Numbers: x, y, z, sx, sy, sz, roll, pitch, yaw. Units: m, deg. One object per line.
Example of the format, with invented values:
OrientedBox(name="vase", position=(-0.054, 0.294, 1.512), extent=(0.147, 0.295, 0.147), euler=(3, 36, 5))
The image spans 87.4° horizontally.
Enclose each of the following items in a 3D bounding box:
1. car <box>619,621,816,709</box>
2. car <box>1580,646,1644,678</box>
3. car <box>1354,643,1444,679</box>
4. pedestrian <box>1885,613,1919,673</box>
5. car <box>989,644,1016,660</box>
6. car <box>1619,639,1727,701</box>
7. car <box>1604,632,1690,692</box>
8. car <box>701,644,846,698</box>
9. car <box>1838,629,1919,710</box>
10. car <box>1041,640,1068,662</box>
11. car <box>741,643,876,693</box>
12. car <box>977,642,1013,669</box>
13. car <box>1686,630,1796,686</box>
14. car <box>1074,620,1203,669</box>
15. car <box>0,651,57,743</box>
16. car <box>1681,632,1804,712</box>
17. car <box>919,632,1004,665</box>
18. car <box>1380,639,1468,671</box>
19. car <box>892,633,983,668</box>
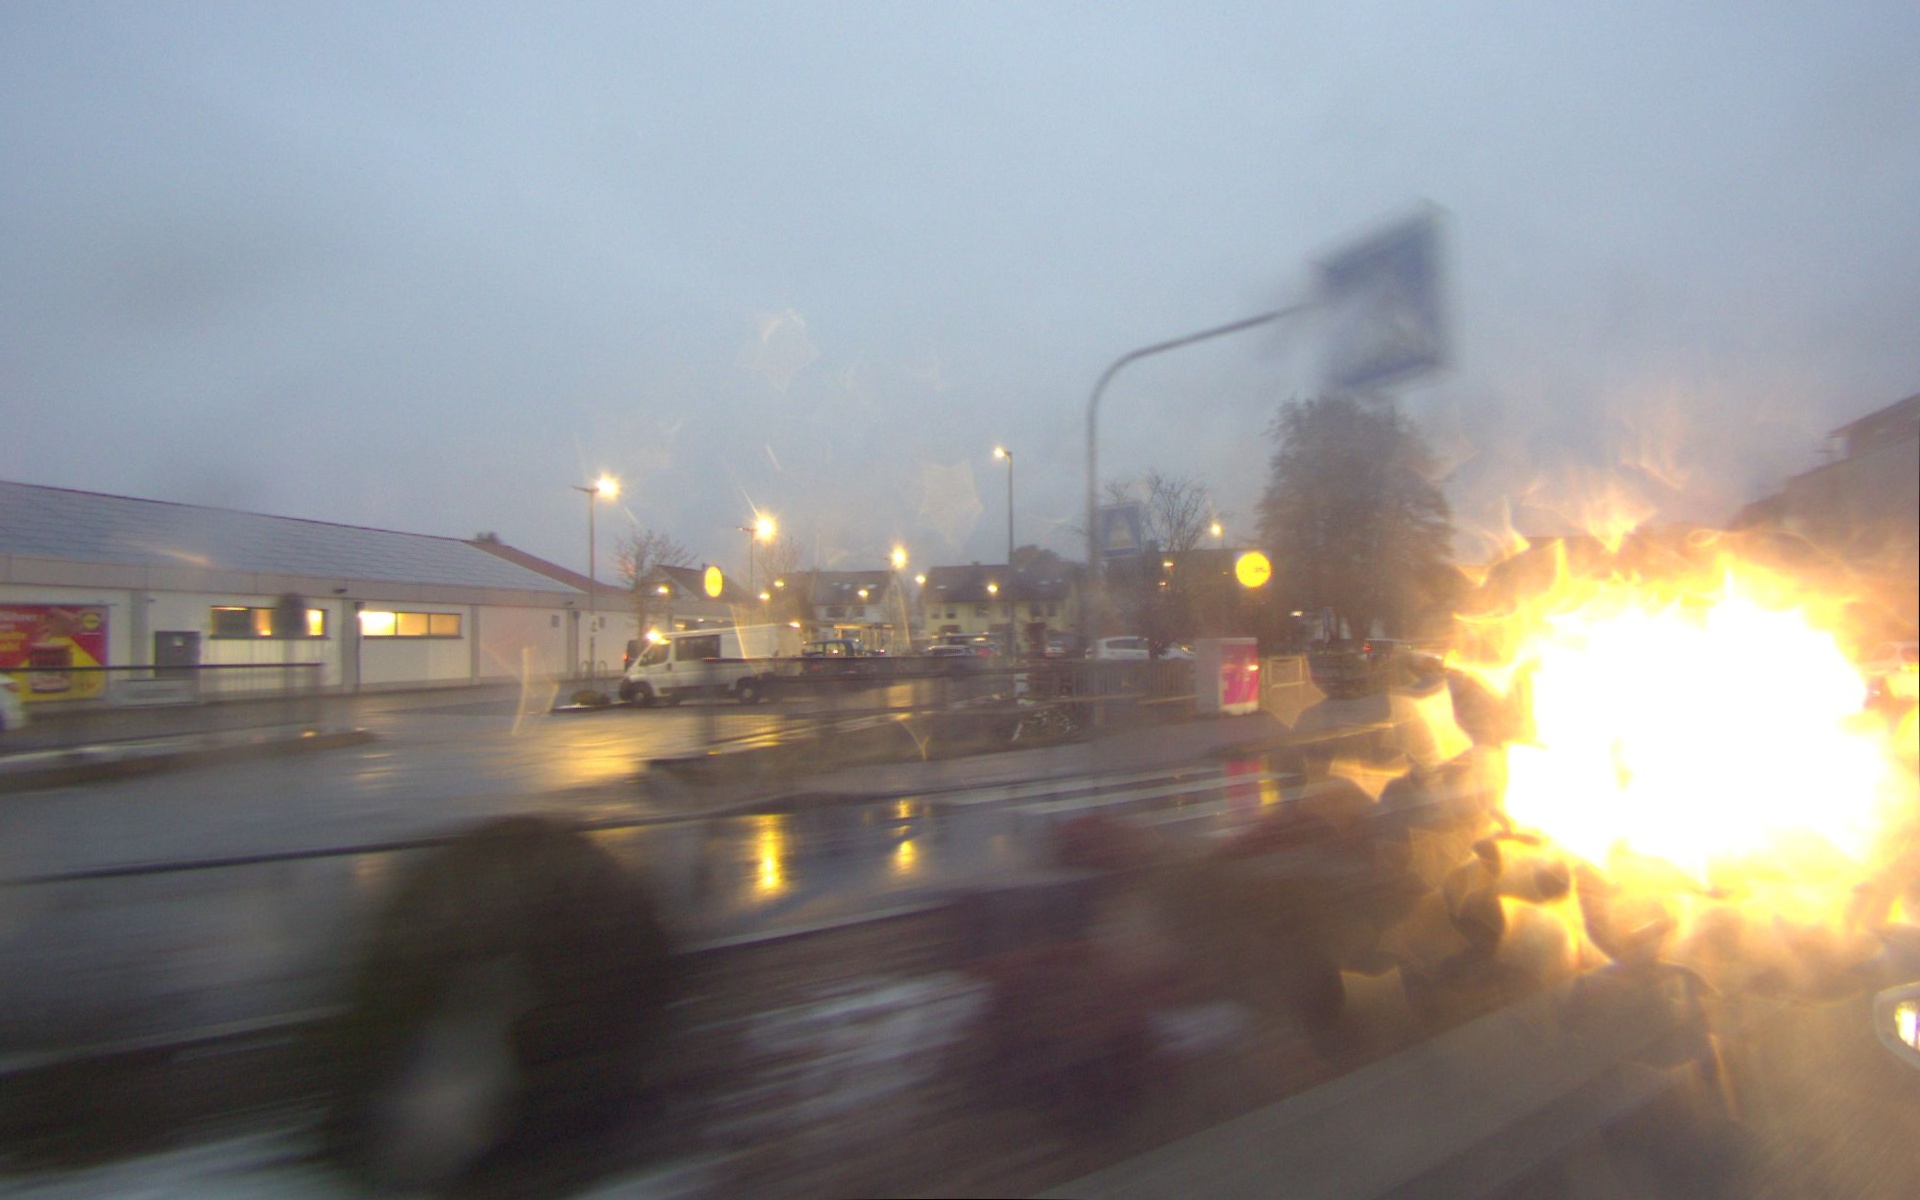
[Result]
OrientedBox(name="car", position=(-7.077, 1.894, 29.524), extent=(5.098, 2.312, 2.220), euler=(-3, -2, 13))
OrientedBox(name="car", position=(30.950, 2.925, 47.771), extent=(1.813, 1.349, 3.936), euler=(-3, -3, 22))
OrientedBox(name="car", position=(23.312, 3.231, 53.468), extent=(4.155, 1.721, 1.901), euler=(2, -2, 17))
OrientedBox(name="pedestrian", position=(30.866, 1.354, 32.250), extent=(1.235, 1.890, 1.303), euler=(-4, -3, 22))
OrientedBox(name="car", position=(3.598, 4.399, 84.819), extent=(1.534, 1.146, 3.394), euler=(2, 0, 15))
OrientedBox(name="car", position=(19.203, 1.833, 27.217), extent=(1.744, 1.514, 4.037), euler=(-2, -2, 27))
OrientedBox(name="car", position=(21.367, 1.879, 31.395), extent=(1.745, 1.746, 4.414), euler=(-2, -2, 29))
OrientedBox(name="car", position=(-6.332, 2.409, 34.331), extent=(4.355, 1.584, 2.057), euler=(-3, -2, 13))
OrientedBox(name="car", position=(20.969, 1.466, 22.080), extent=(1.831, 1.669, 3.991), euler=(-1, -2, 31))
OrientedBox(name="car", position=(8.005, 4.299, 84.834), extent=(1.665, 1.662, 3.712), euler=(2, 0, 15))
OrientedBox(name="car", position=(-5.460, 2.447, 36.514), extent=(4.355, 1.584, 2.057), euler=(-3, -2, 13))
OrientedBox(name="car", position=(2.391, 3.723, 68.005), extent=(1.879, 1.638, 4.002), euler=(0, 0, 10))
OrientedBox(name="car", position=(29.600, 2.177, 38.265), extent=(2.274, 1.963, 5.013), euler=(-3, -3, 27))
OrientedBox(name="car", position=(6.810, 1.700, 38.322), extent=(4.689, 1.734, 2.035), euler=(-1, -2, 13))
OrientedBox(name="car", position=(-17.499, 1.595, 15.740), extent=(1.655, 1.556, 4.788), euler=(-1, -3, 17))
OrientedBox(name="car", position=(16.305, 1.446, 21.110), extent=(1.640, 1.505, 3.990), euler=(-2, -3, 33))
OrientedBox(name="car", position=(0.100, 2.711, 56.244), extent=(4.355, 1.584, 2.057), euler=(-3, -2, 13))
OrientedBox(name="car", position=(25.901, 3.076, 56.135), extent=(4.339, 1.694, 1.967), euler=(-2, -1, 26))
OrientedBox(name="car", position=(-1.175, 2.657, 52.975), extent=(4.355, 1.584, 2.057), euler=(-3, -2, 13))
